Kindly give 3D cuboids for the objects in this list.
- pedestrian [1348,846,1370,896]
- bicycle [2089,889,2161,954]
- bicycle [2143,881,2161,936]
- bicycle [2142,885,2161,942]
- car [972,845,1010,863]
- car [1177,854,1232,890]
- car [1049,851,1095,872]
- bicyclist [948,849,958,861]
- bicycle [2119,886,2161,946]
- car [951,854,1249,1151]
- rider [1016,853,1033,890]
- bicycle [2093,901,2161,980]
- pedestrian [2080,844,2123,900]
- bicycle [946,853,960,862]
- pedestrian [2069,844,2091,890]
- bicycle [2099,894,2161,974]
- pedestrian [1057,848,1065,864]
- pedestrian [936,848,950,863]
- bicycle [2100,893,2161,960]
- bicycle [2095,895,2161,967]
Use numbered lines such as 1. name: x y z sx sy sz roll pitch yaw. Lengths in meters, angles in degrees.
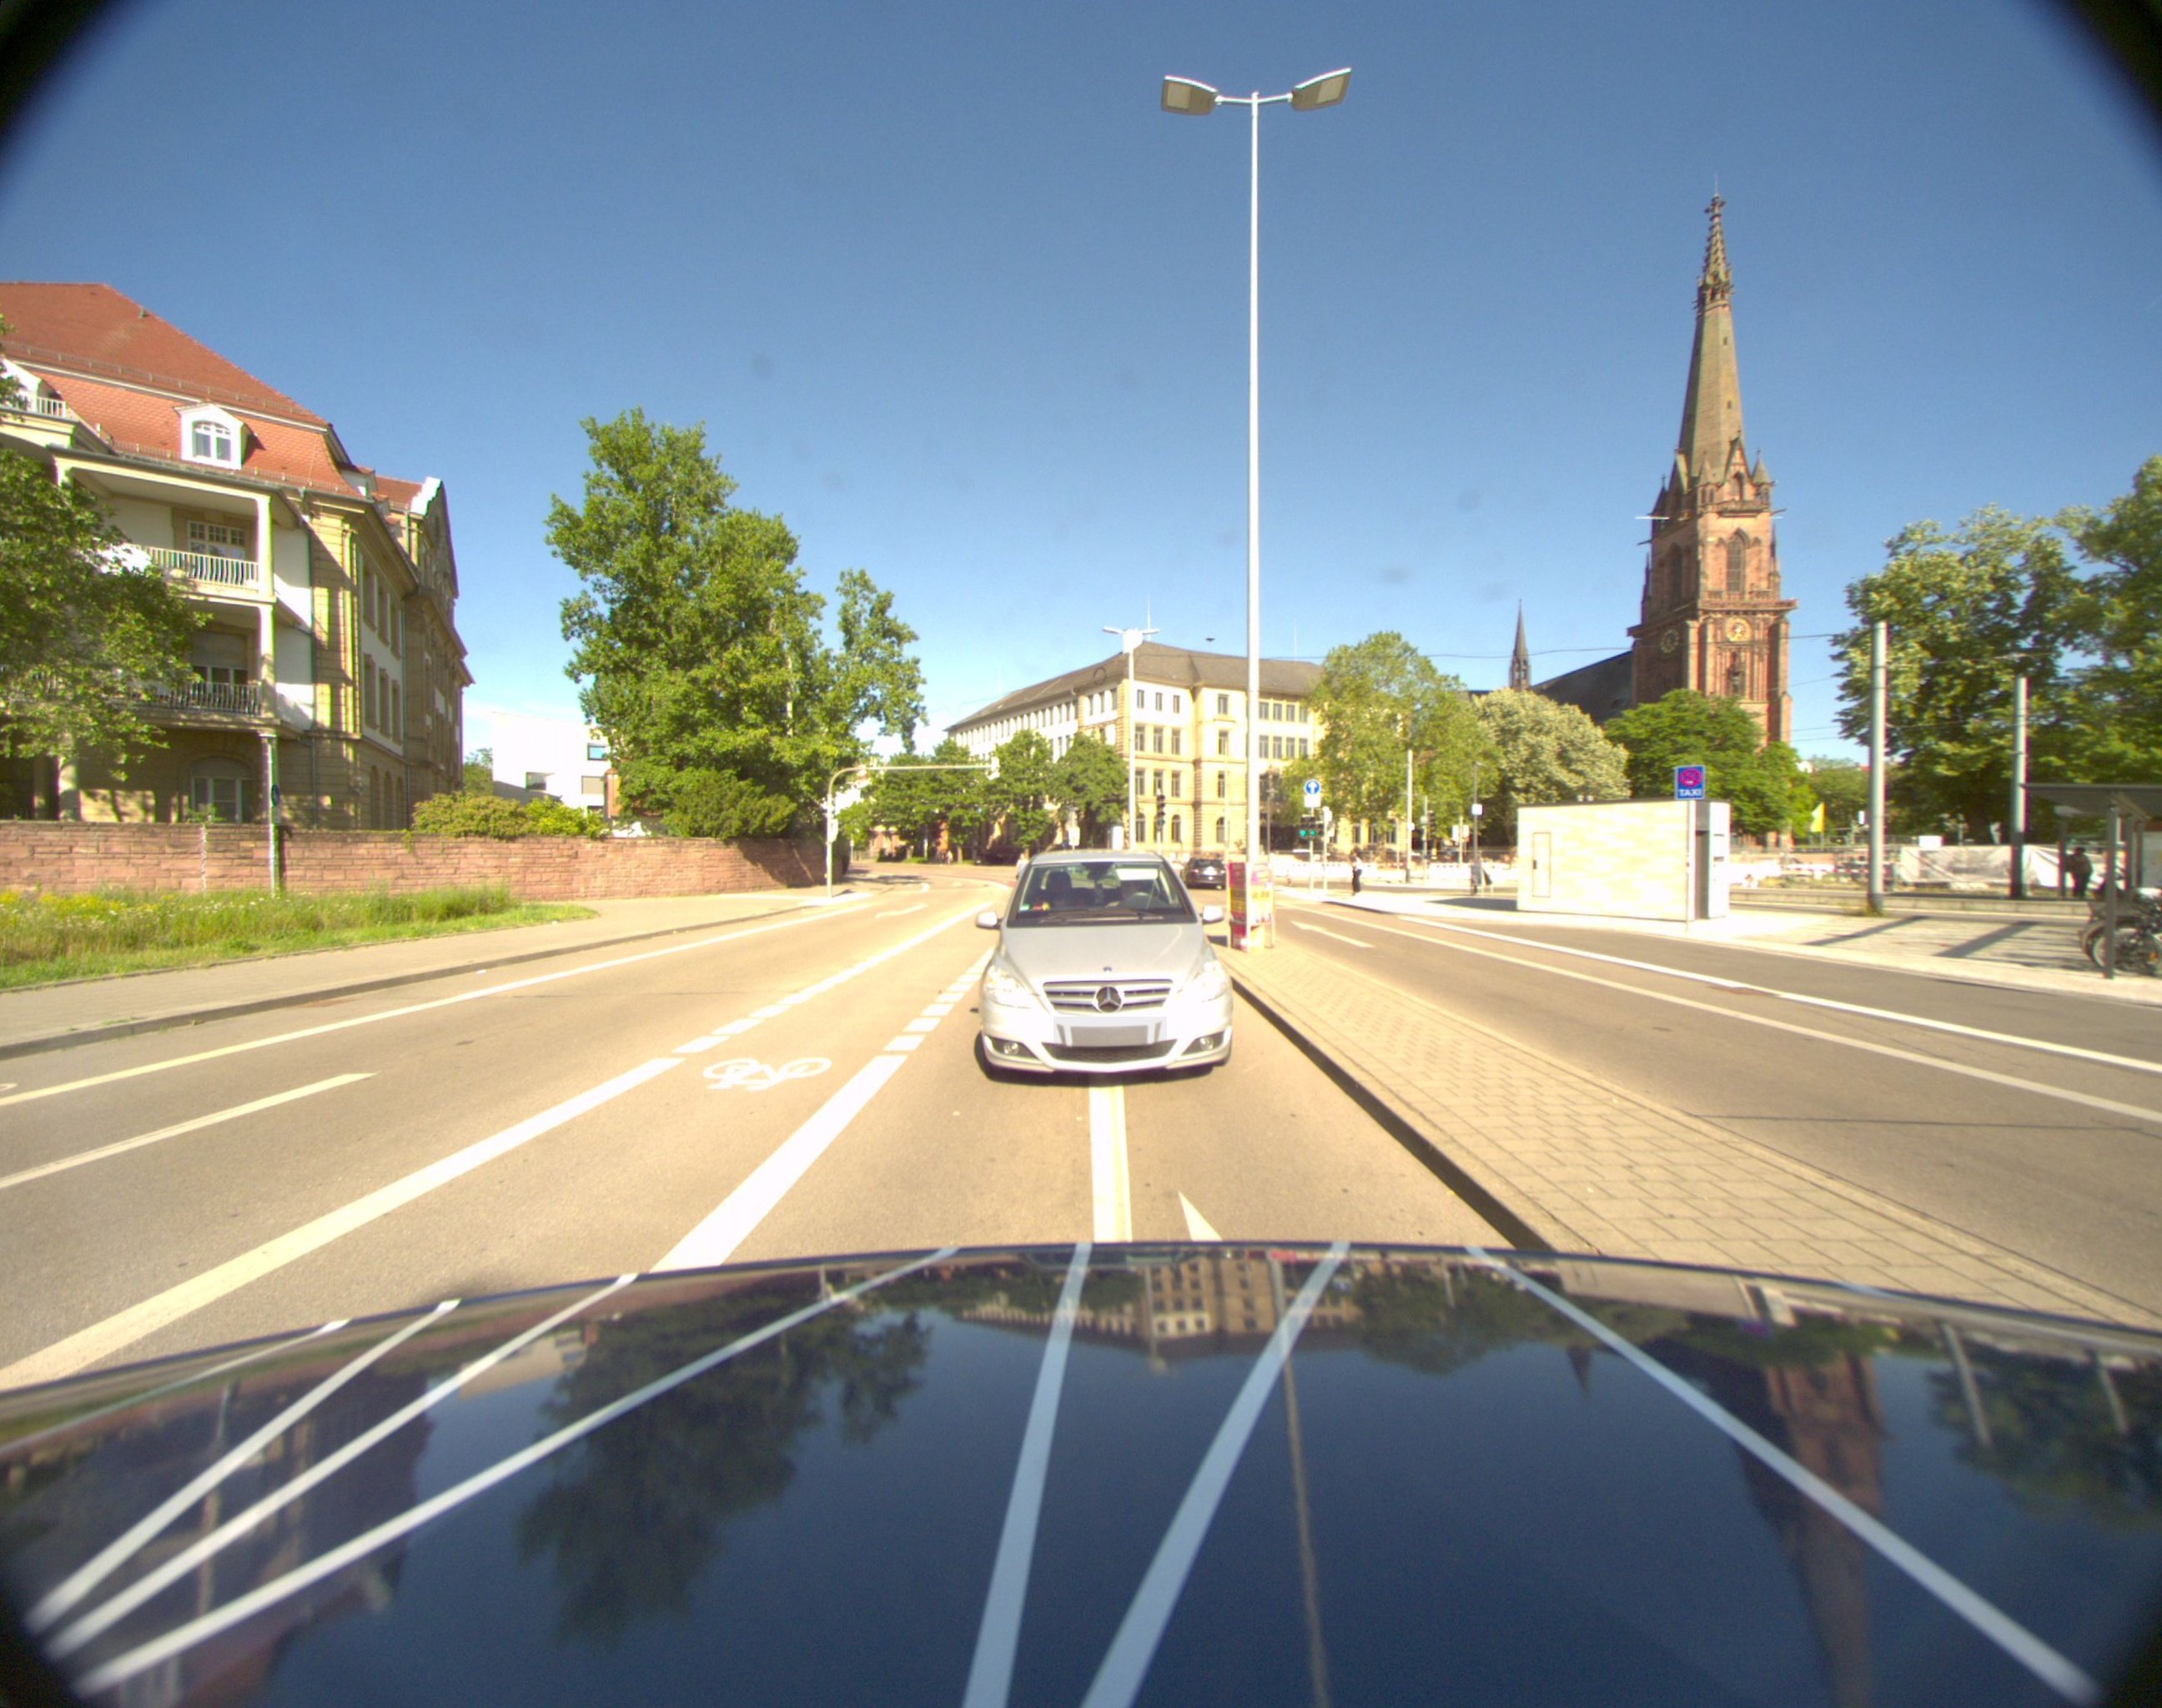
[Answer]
1. pedestrian: 10.372 0.615 28.374 0.693 1.844 0.679 0 1 12
2. bicycle: 17.908 1.125 12.425 0.458 1.003 1.667 -1 1 -33
3. bicycle: 20.482 1.016 13.606 0.458 1.003 1.667 -1 1 -33
4. bicycle: 19.889 1.074 13.196 0.458 1.003 1.667 -1 1 -33
5. car: -10.731 -0.035 90.758 1.994 2.002 4.721 0 1 32
6. car: 5.634 0.775 35.160 1.793 1.490 4.575 1 1 0
7. car: -0.784 0.588 61.824 1.865 1.533 4.230 1 1 -31
8. bicyclist: -14.918 0.111 88.549 0.893 1.377 0.735 1 1 44
9. bicycle: 19.122 1.097 12.945 0.458 1.003 1.667 -1 1 -33
10. car: 0.083 0.867 6.394 1.706 1.657 3.913 -1 1 -1
11. rider: -2.550 0.782 34.495 0.658 1.610 0.989 -1 1 1
12. bicycle: 14.694 1.170 9.962 0.458 1.003 1.667 -1 1 -33
13. pedestrian: 33.071 0.567 24.640 0.980 1.769 0.801 -1 1 -37
14. bicycle: -14.927 0.420 88.560 1.830 0.985 0.735 0 1 44
15. pedestrian: 37.566 0.496 28.574 0.404 1.711 0.419 1 1 38
16. bicycle: 15.195 1.122 10.276 0.458 1.055 1.667 -1 1 -33
17. pedestrian: -2.200 0.184 82.191 0.677 1.714 0.588 -1 1 -22
18. pedestrian: -17.149 0.180 94.345 0.934 1.812 1.394 1 1 45
19. bicycle: 17.254 1.146 11.651 0.458 1.003 1.899 -1 1 -33
20. bicycle: 16.068 1.147 10.973 0.458 1.003 1.667 -1 1 -33
